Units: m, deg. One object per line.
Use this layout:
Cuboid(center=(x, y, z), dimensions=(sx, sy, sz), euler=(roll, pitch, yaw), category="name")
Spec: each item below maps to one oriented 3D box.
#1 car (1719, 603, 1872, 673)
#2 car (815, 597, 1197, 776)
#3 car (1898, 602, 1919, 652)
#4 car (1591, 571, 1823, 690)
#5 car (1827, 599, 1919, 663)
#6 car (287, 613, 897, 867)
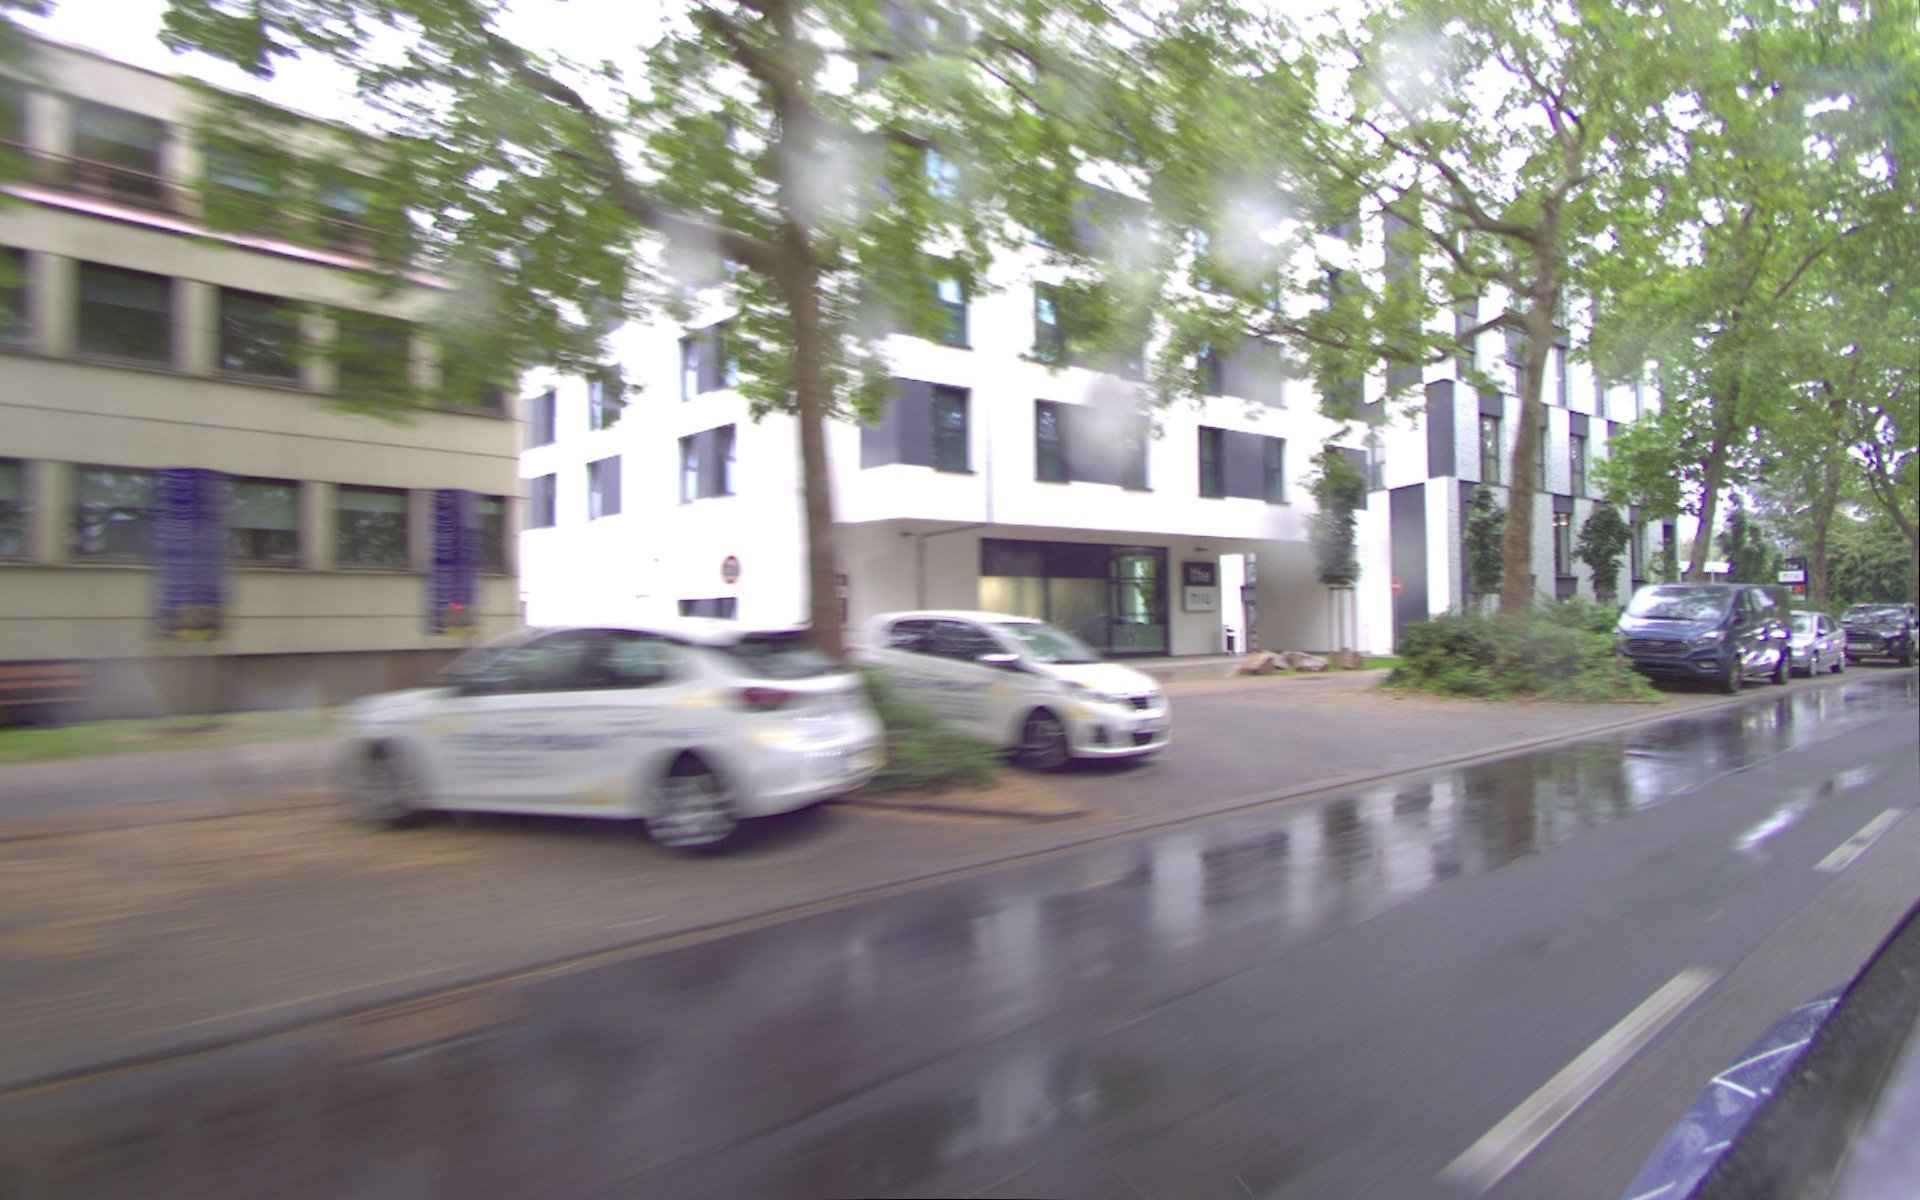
Cuboid(center=(19.440, 0.814, 23.503), dimensions=(4.225, 1.488, 1.748), euler=(0, -1, -36), category="car")
Cuboid(center=(0.415, 0.764, 10.531), dimensions=(3.623, 1.524, 1.726), euler=(0, -1, 36), category="car")
Cuboid(center=(30.584, 0.795, 31.010), dimensions=(4.003, 1.495, 1.749), euler=(0, -1, -33), category="car")
Cuboid(center=(14.718, 0.532, 19.834), dimensions=(5.423, 2.054, 2.127), euler=(0, -1, -36), category="car")
Cuboid(center=(24.973, 0.770, 27.086), dimensions=(4.289, 1.586, 1.748), euler=(0, -1, -36), category="car")
Cuboid(center=(-2.614, 0.822, 7.314), dimensions=(3.987, 1.446, 1.738), euler=(0, -1, 20), category="car")
